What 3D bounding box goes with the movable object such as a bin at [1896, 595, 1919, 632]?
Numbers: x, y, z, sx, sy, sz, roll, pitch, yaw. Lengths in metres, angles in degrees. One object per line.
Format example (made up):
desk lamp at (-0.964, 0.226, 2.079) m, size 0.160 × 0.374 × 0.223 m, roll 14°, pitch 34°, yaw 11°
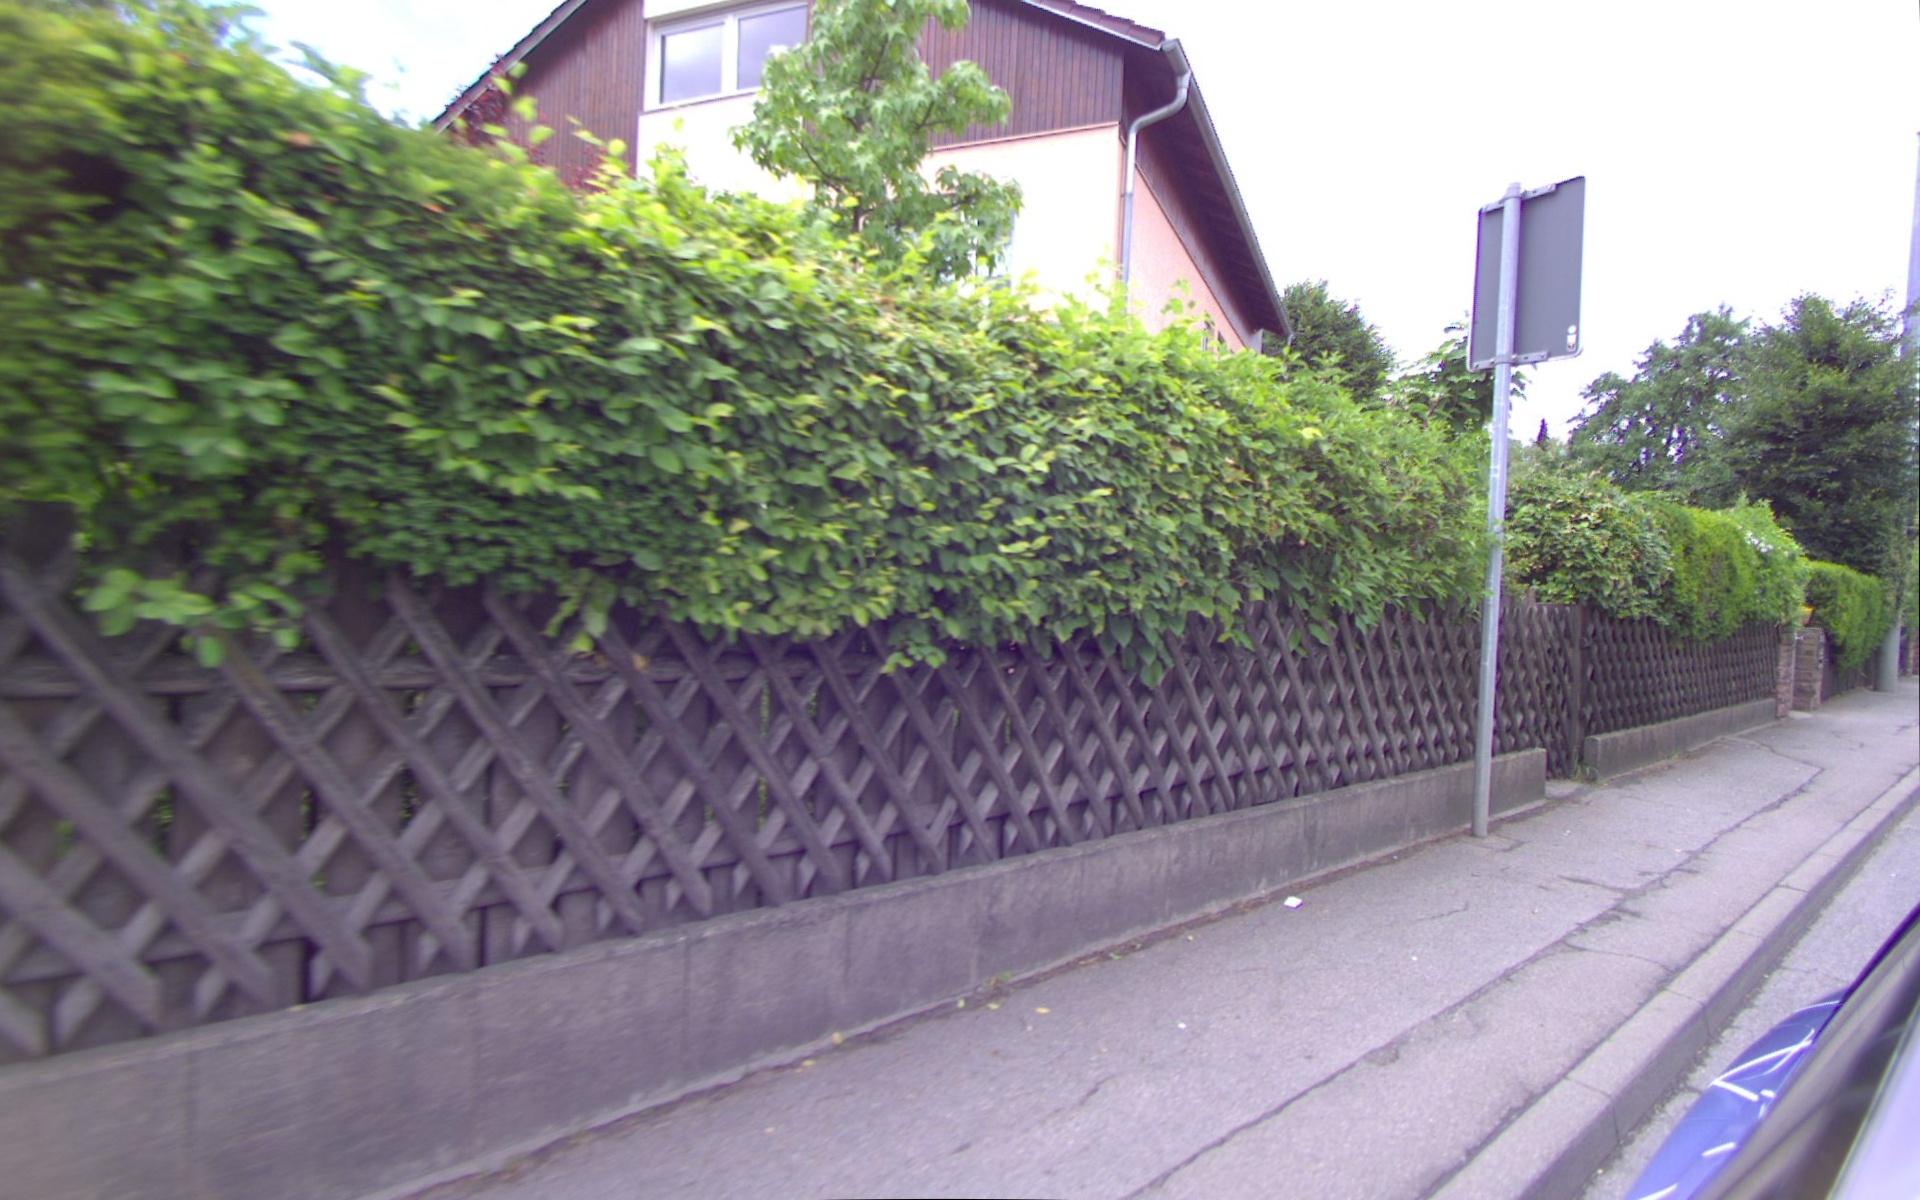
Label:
movable object such as a bin at (26.227, 0.364, 27.866) m, size 0.445 × 0.967 × 0.678 m, roll 7°, pitch 4°, yaw 32°
